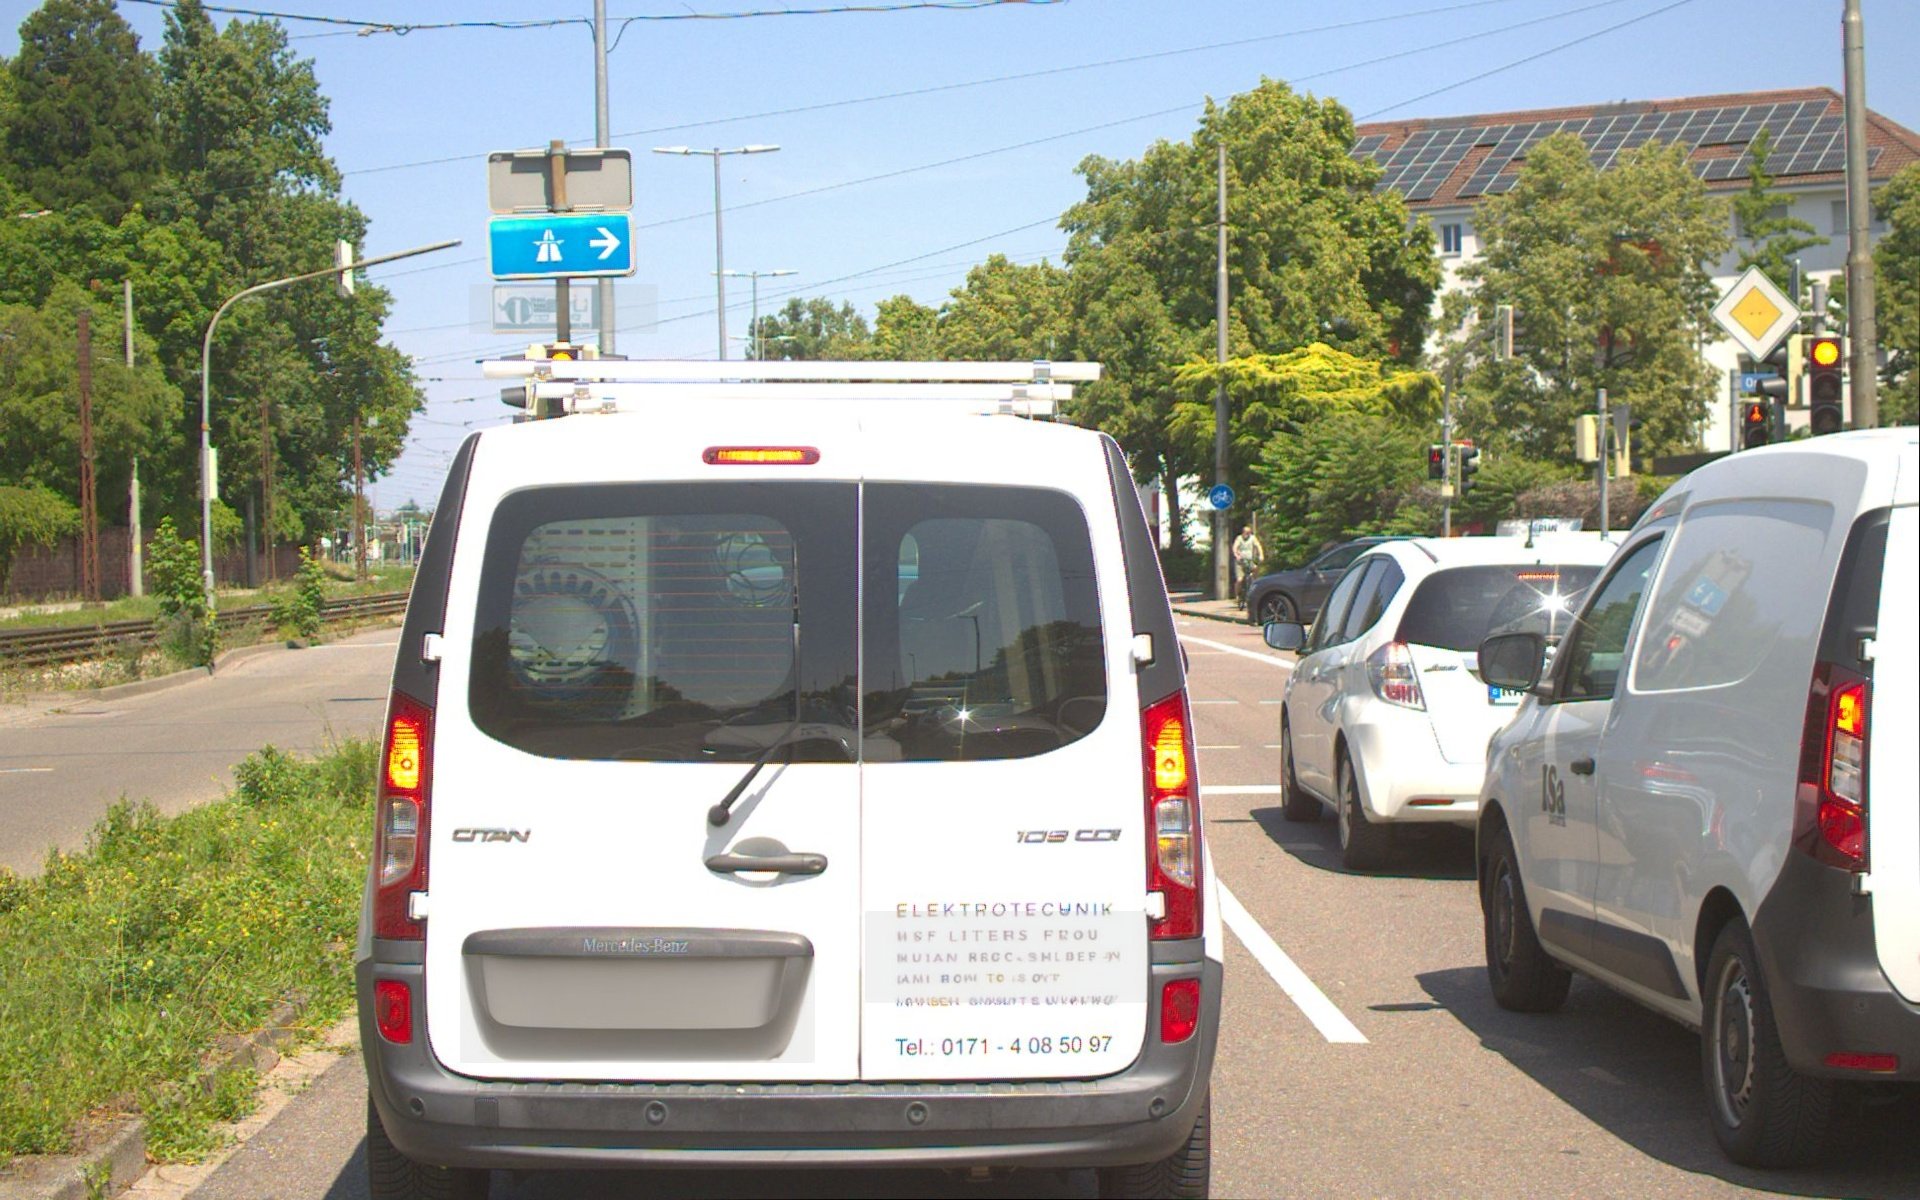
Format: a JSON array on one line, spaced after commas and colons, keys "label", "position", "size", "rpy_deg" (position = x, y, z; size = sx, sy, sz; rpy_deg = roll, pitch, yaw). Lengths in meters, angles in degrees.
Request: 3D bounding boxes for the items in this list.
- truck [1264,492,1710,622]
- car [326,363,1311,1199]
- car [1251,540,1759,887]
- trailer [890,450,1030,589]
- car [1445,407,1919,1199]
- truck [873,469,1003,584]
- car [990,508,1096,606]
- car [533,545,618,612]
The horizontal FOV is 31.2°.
[{"label": "truck", "position": [8.467, -0.689, 55.387], "size": [6.715, 2.007, 2.303], "rpy_deg": [0, 1, 26]}, {"label": "car", "position": [-0.328, 0.433, 8.454], "size": [1.866, 1.829, 3.849], "rpy_deg": [0, 1, -2]}, {"label": "car", "position": [2.532, 0.460, 16.903], "size": [1.756, 1.481, 4.000], "rpy_deg": [1, 1, -1]}, {"label": "trailer", "position": [-0.082, -2.448, 105.227], "size": [3.527, 4.037, 8.979], "rpy_deg": [-1, 1, -5]}, {"label": "car", "position": [2.565, 0.455, 9.452], "size": [1.710, 1.824, 4.014], "rpy_deg": [0, 1, -3]}, {"label": "truck", "position": [-0.810, -2.420, 114.069], "size": [3.575, 3.620, 8.810], "rpy_deg": [-1, 1, -5]}, {"label": "car", "position": [1.659, -0.878, 69.644], "size": [1.993, 1.908, 4.000], "rpy_deg": [0, 1, -1]}, {"label": "car", "position": [-8.274, -0.457, 74.209], "size": [1.691, 1.307, 3.885], "rpy_deg": [-4, 1, -6]}]
